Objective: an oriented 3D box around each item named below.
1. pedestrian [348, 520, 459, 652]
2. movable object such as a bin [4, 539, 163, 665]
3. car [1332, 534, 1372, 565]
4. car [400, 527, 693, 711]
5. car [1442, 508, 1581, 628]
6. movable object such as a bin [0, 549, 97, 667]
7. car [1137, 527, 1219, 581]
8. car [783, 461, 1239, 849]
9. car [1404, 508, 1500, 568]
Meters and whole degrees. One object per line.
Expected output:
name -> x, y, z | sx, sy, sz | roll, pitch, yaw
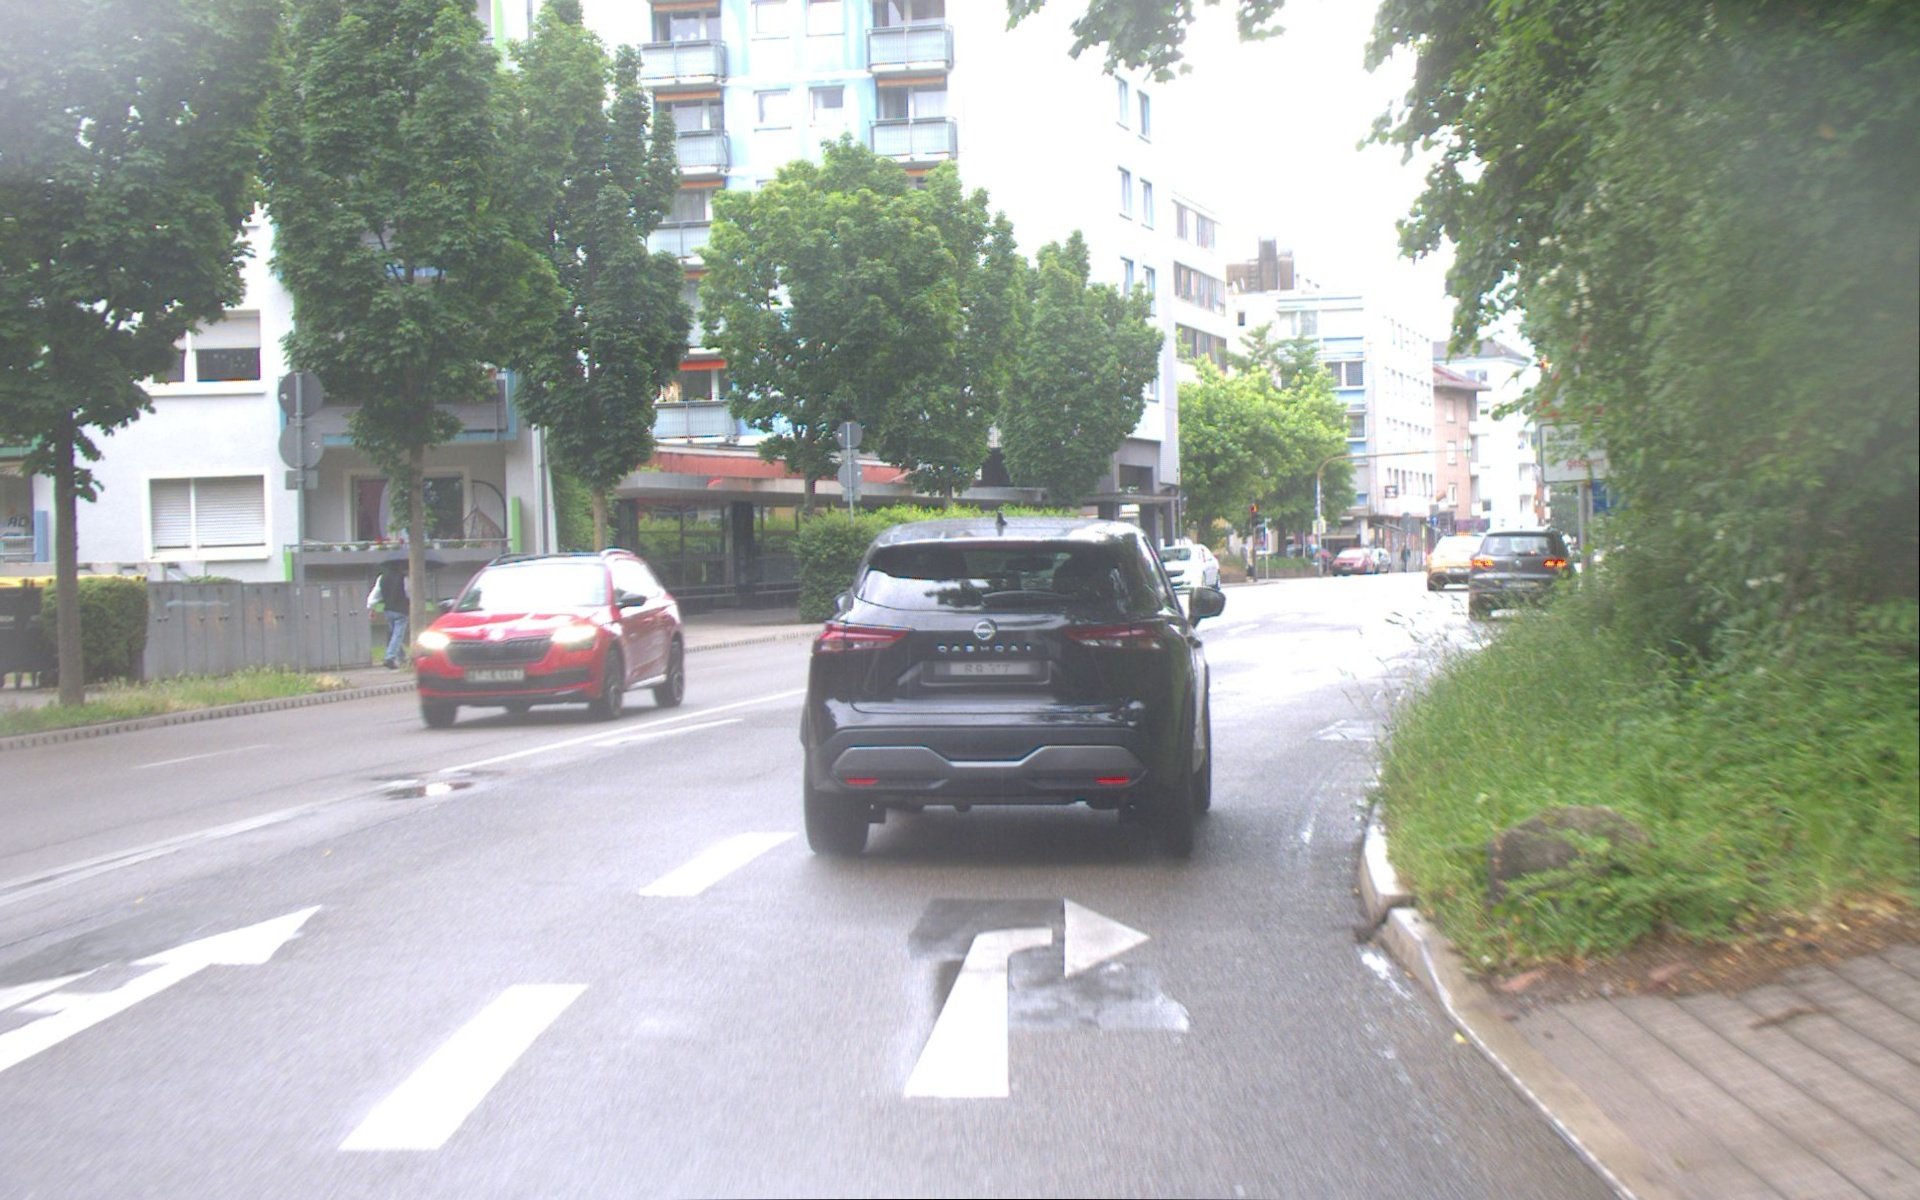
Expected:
pedestrian -> -7.850, -0.211, 48.560 | 1.135, 1.797, 1.262 | -2, 1, 9
movable object such as a bin -> -10.966, 0.008, 43.102 | 1.215, 1.479, 2.087 | -2, 1, 7
car -> 19.891, -2.578, 174.285 | 1.673, 1.473, 3.606 | -3, 1, 11
car -> -3.741, 0.117, 31.773 | 1.676, 1.557, 4.141 | 0, 2, 8
car -> 9.843, -0.593, 61.124 | 1.995, 2.007, 3.997 | -1, 1, 15
movable object such as a bin -> -11.224, 0.092, 40.941 | 1.157, 1.327, 1.966 | -2, 1, 7
car -> 6.307, -1.330, 99.041 | 1.874, 1.386, 4.625 | -3, 1, 9
car -> 0.210, 0.202, 17.199 | 1.959, 1.647, 4.000 | -2, 1, 0
car -> 12.934, -1.640, 90.152 | 2.067, 1.459, 4.584 | -1, 1, 13
